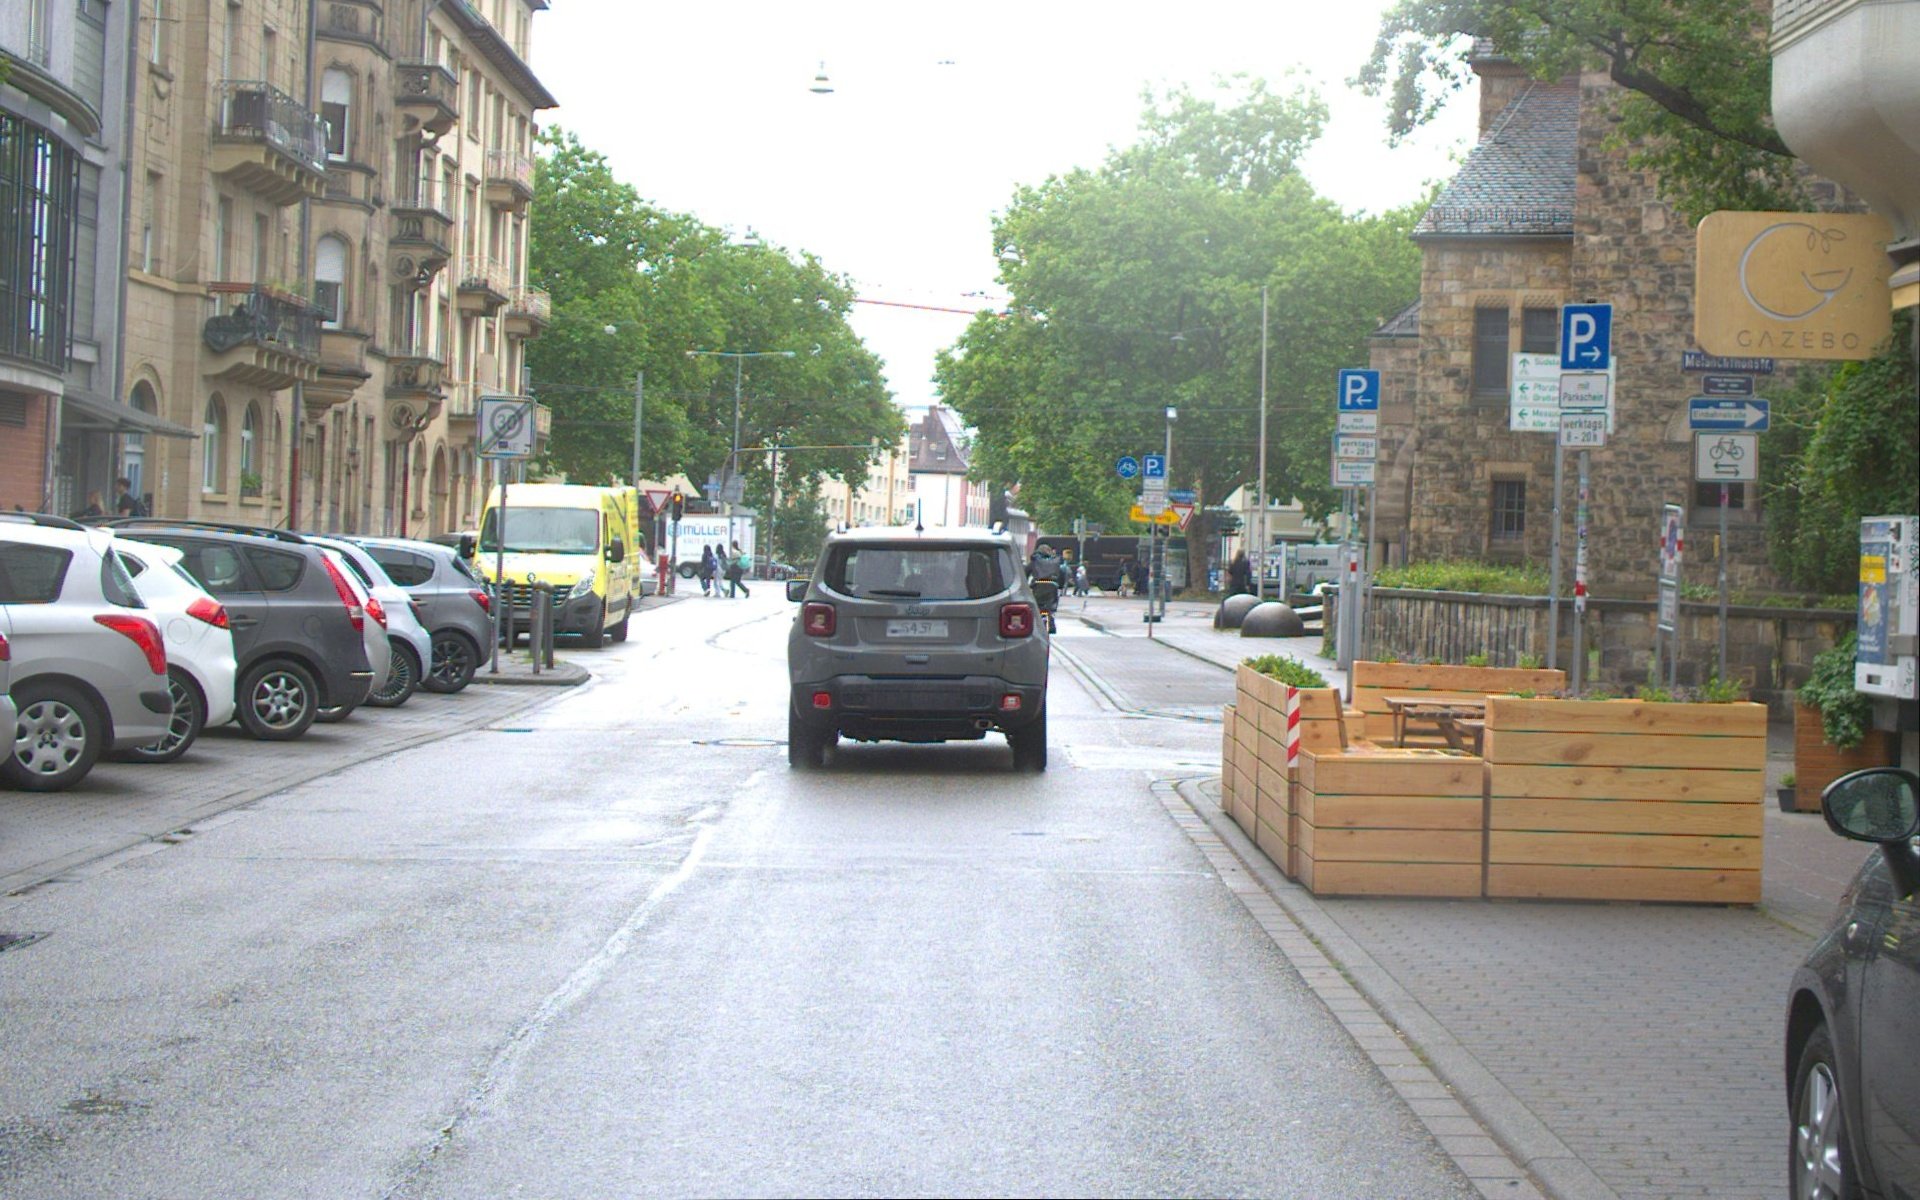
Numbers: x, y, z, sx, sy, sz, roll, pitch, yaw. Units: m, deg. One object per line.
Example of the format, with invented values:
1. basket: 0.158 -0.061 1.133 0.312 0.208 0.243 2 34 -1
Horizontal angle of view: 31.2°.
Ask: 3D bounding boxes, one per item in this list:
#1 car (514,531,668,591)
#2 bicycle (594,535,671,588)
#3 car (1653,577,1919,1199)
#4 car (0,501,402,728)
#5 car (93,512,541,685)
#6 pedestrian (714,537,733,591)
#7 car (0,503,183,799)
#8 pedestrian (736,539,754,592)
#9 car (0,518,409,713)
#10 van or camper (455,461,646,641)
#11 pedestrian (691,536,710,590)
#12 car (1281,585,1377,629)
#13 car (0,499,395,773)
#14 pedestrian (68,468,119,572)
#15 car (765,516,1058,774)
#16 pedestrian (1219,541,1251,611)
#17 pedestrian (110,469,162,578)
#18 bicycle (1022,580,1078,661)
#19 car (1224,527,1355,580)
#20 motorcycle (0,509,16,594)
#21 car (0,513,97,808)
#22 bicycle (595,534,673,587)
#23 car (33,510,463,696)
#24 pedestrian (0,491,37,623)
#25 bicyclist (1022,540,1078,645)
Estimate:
1. car: -9.398 -0.987 87.623 3.413 1.311 1.779 3 0 -33
2. bicycle: -9.340 -1.098 98.034 2.092 1.439 0.491 1 1 -20
3. car: 2.461 0.691 5.968 1.710 1.396 3.705 1 1 -1
4. car: -6.056 0.093 25.395 3.375 1.536 1.681 2 1 -31
5. car: -6.300 -0.014 33.729 3.818 1.502 1.989 2 1 -30
6. pedestrian: -7.084 -1.080 103.036 0.467 1.580 0.752 2 1 -1
7. car: -6.329 0.258 19.498 3.375 1.648 1.634 1 1 -33
8. pedestrian: -6.493 -1.041 103.699 0.467 1.580 0.752 2 1 -1
9. car: -6.465 0.122 28.259 3.375 1.453 1.681 2 1 -33
10. van or camper: -6.263 -0.668 53.385 2.121 2.522 6.874 -2 -1 0
11. pedestrian: -7.762 -1.104 102.742 0.467 1.580 0.659 2 1 -1
12. car: 13.448 0.236 125.239 3.190 1.495 1.540 1 1 17
13. car: -6.275 0.146 22.228 4.510 1.534 2.338 6 -2 -33
14. pedestrian: -14.131 -1.297 56.040 0.660 1.669 0.797 1 1 -24
15. car: -0.365 0.270 25.050 1.898 1.665 4.506 2 1 -1
16. pedestrian: 6.720 -0.592 84.159 0.691 1.705 0.684 1 1 0
17. pedestrian: -13.498 -1.254 56.326 0.660 1.751 0.797 1 1 -24
18. bicycle: 1.217 0.271 46.985 0.705 1.050 1.813 1 1 0
19. car: 15.215 -2.149 159.065 5.905 2.326 2.059 1 1 4
20. motorcycle: -13.619 -0.685 47.234 0.753 1.170 2.116 5 1 -4
21. car: -6.299 0.265 16.725 3.702 1.447 1.685 1 1 -35
22. bicycle: -9.197 -1.111 97.040 2.109 1.439 0.539 1 1 -20
23. car: -6.403 0.028 30.946 3.375 1.502 1.681 2 1 -30
24. pedestrian: -11.547 -0.534 41.105 0.709 1.546 0.607 5 1 7
25. bicyclist: 1.229 -0.106 46.980 0.705 1.399 1.171 1 1 0
